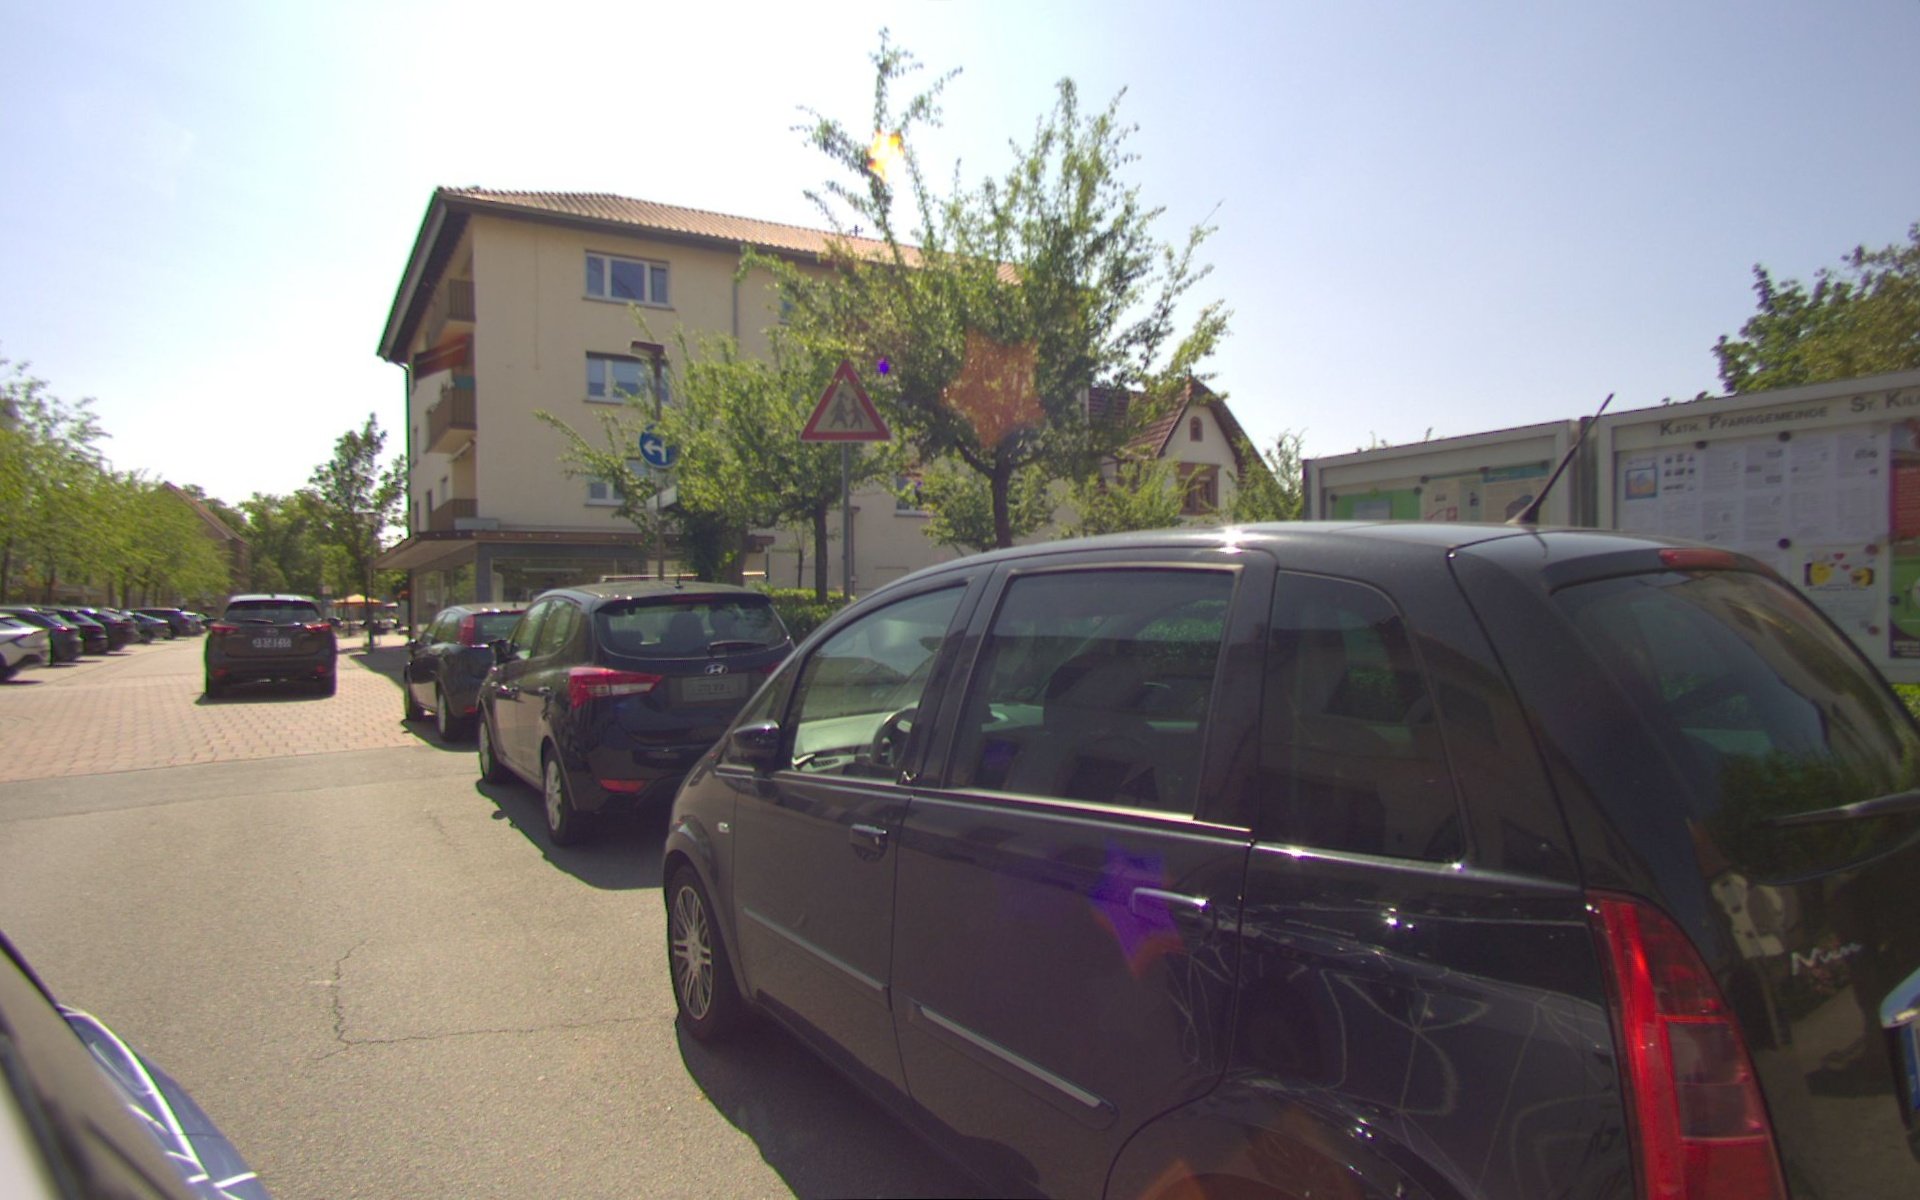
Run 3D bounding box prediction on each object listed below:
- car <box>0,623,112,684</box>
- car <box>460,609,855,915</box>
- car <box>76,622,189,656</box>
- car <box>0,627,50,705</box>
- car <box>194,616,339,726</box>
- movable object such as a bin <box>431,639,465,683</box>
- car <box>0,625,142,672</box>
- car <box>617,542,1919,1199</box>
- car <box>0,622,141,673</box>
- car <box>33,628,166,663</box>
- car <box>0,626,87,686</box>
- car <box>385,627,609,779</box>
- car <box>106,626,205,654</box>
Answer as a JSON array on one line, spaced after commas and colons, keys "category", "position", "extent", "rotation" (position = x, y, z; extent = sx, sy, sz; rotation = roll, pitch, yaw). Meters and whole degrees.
[{"category": "car", "position": [-27.291, 1.502, 29.132], "extent": [4.222, 1.694, 2.005], "rotation": [1, -2, -35]}, {"category": "car", "position": [-2.516, 0.908, 7.624], "extent": [1.790, 1.617, 4.035], "rotation": [0, -1, -33]}, {"category": "car", "position": [-41.302, 1.962, 50.661], "extent": [4.186, 1.630, 1.761], "rotation": [2, -2, -34]}, {"category": "car", "position": [-21.620, 1.332, 20.571], "extent": [4.379, 1.588, 1.794], "rotation": [2, -2, -33]}, {"category": "car", "position": [-12.169, 1.129, 17.671], "extent": [1.857, 1.681, 4.162], "rotation": [1, -2, -37]}, {"category": "movable object such as a bin", "position": [-13.420, 1.592, 26.537], "extent": [0.647, 1.078, 0.665], "rotation": [-1, 0, -40]}, {"category": "car", "position": [-32.929, 1.782, 37.440], "extent": [3.972, 1.624, 1.685], "rotation": [2, -2, -34]}, {"category": "car", "position": [0.479, 0.808, 2.623], "extent": [1.615, 1.641, 3.777], "rotation": [0, -1, -34]}, {"category": "car", "position": [-30.085, 1.561, 33.396], "extent": [4.445, 1.600, 1.856], "rotation": [3, -2, -30]}, {"category": "car", "position": [-39.299, 2.052, 46.287], "extent": [1.888, 1.474, 4.330], "rotation": [-1, -2, 38]}, {"category": "car", "position": [-25.810, 1.466, 26.774], "extent": [3.891, 1.545, 1.828], "rotation": [2, -2, -34]}, {"category": "car", "position": [-5.778, 1.104, 12.372], "extent": [1.680, 1.508, 3.865], "rotation": [0, -1, -37]}, {"category": "car", "position": [-48.569, 2.400, 61.222], "extent": [4.512, 1.555, 1.812], "rotation": [-1, -1, -33]}]
